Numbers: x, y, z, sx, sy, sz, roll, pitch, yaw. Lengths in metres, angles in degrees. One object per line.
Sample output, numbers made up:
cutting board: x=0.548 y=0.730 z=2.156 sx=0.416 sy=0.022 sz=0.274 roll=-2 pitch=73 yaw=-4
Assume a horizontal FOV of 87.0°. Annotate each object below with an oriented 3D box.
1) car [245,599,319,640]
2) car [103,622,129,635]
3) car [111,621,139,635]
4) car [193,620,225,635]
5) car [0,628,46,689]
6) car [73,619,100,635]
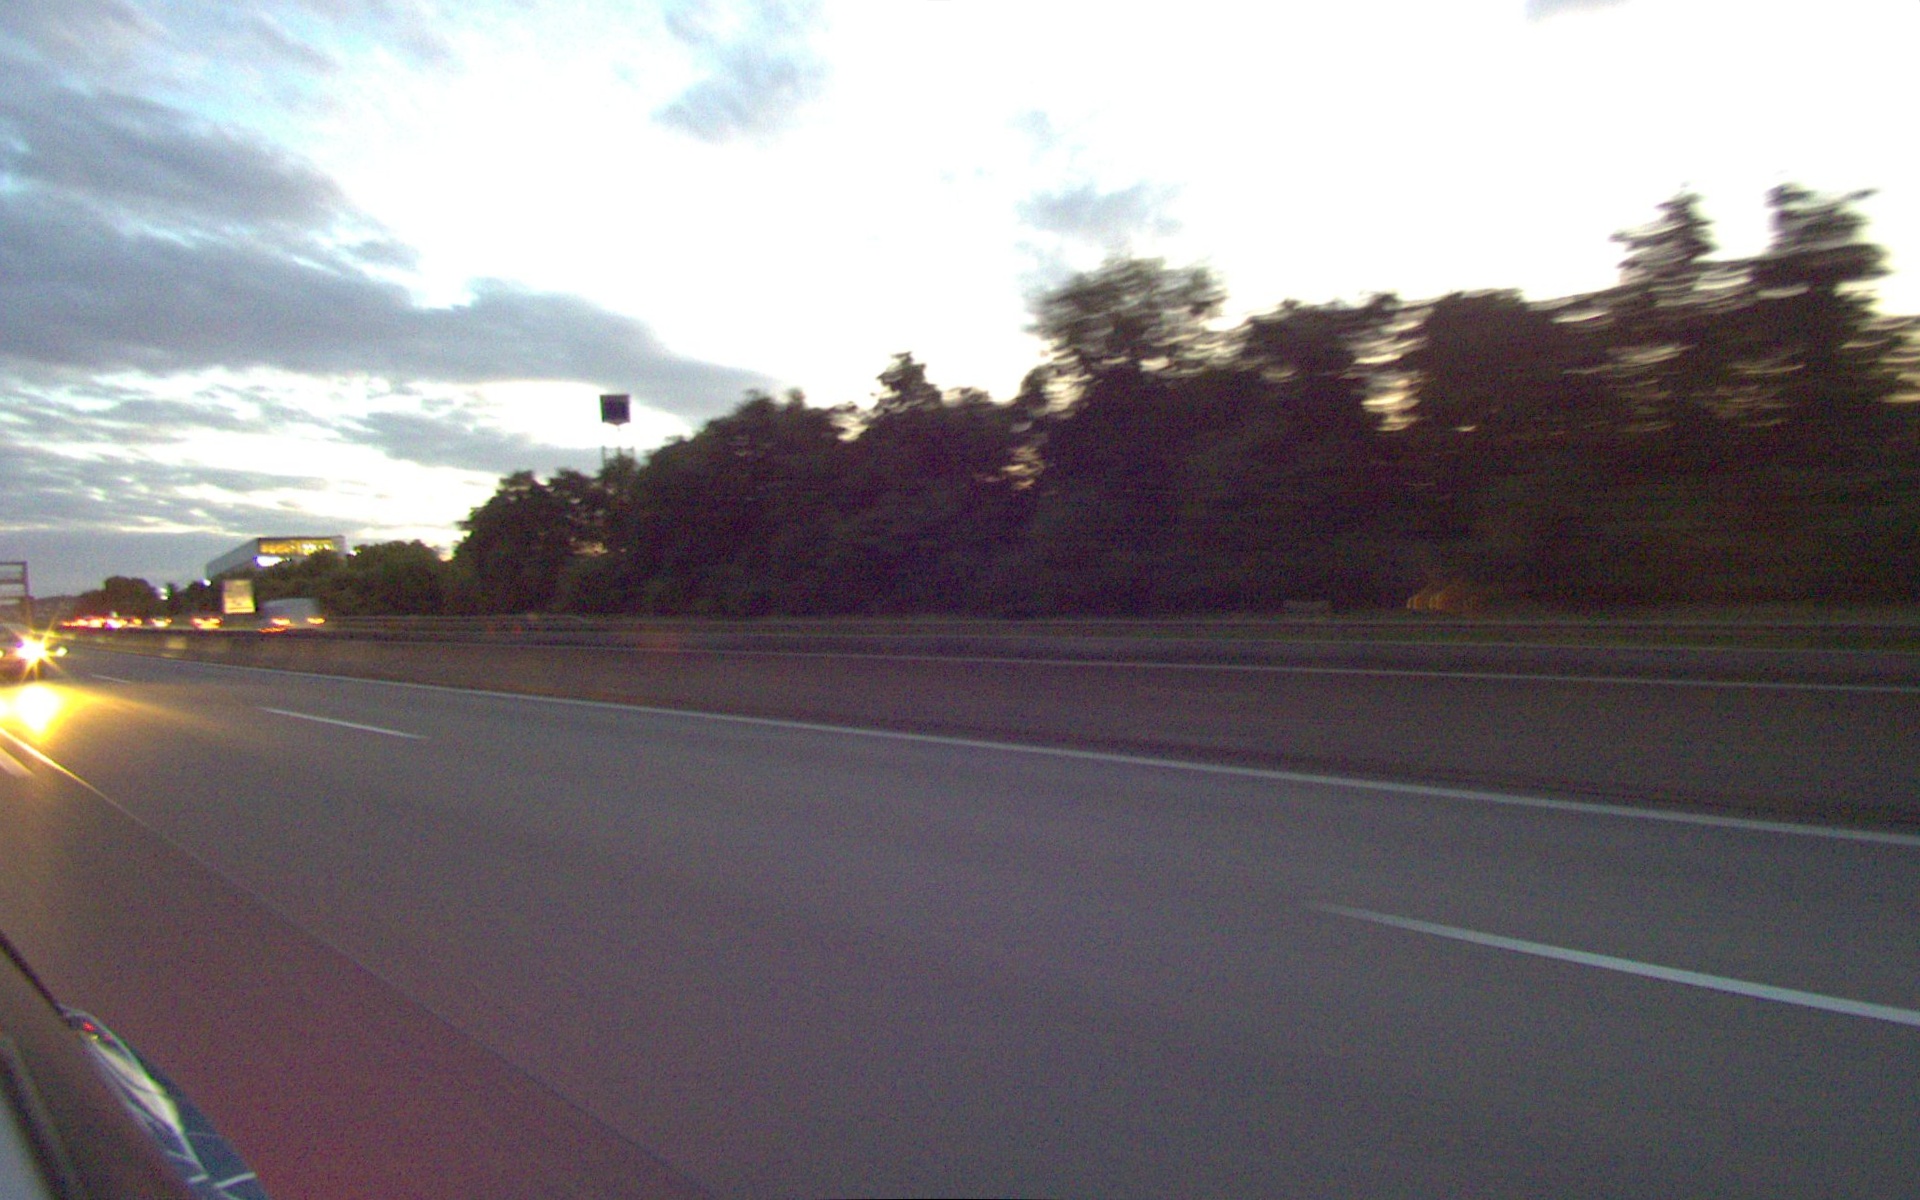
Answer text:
car: x=-43.185 y=1.240 z=64.394 sx=7.094 sy=2.450 sz=2.301 roll=-1 pitch=0 yaw=43
car: x=-107.960 y=3.635 z=129.393 sx=5.024 sy=1.484 sz=1.972 roll=-1 pitch=0 yaw=43
car: x=-96.393 y=3.166 z=116.796 sx=4.559 sy=1.516 sz=1.972 roll=-1 pitch=0 yaw=43
car: x=-76.683 y=2.799 z=103.316 sx=4.237 sy=1.471 sz=1.972 roll=-1 pitch=0 yaw=43
car: x=-25.605 y=1.515 z=26.719 sx=3.998 sy=1.491 sz=1.695 roll=-1 pitch=0 yaw=41
car: x=-105.105 y=3.234 z=121.793 sx=5.051 sy=1.748 sz=1.972 roll=-1 pitch=0 yaw=43
